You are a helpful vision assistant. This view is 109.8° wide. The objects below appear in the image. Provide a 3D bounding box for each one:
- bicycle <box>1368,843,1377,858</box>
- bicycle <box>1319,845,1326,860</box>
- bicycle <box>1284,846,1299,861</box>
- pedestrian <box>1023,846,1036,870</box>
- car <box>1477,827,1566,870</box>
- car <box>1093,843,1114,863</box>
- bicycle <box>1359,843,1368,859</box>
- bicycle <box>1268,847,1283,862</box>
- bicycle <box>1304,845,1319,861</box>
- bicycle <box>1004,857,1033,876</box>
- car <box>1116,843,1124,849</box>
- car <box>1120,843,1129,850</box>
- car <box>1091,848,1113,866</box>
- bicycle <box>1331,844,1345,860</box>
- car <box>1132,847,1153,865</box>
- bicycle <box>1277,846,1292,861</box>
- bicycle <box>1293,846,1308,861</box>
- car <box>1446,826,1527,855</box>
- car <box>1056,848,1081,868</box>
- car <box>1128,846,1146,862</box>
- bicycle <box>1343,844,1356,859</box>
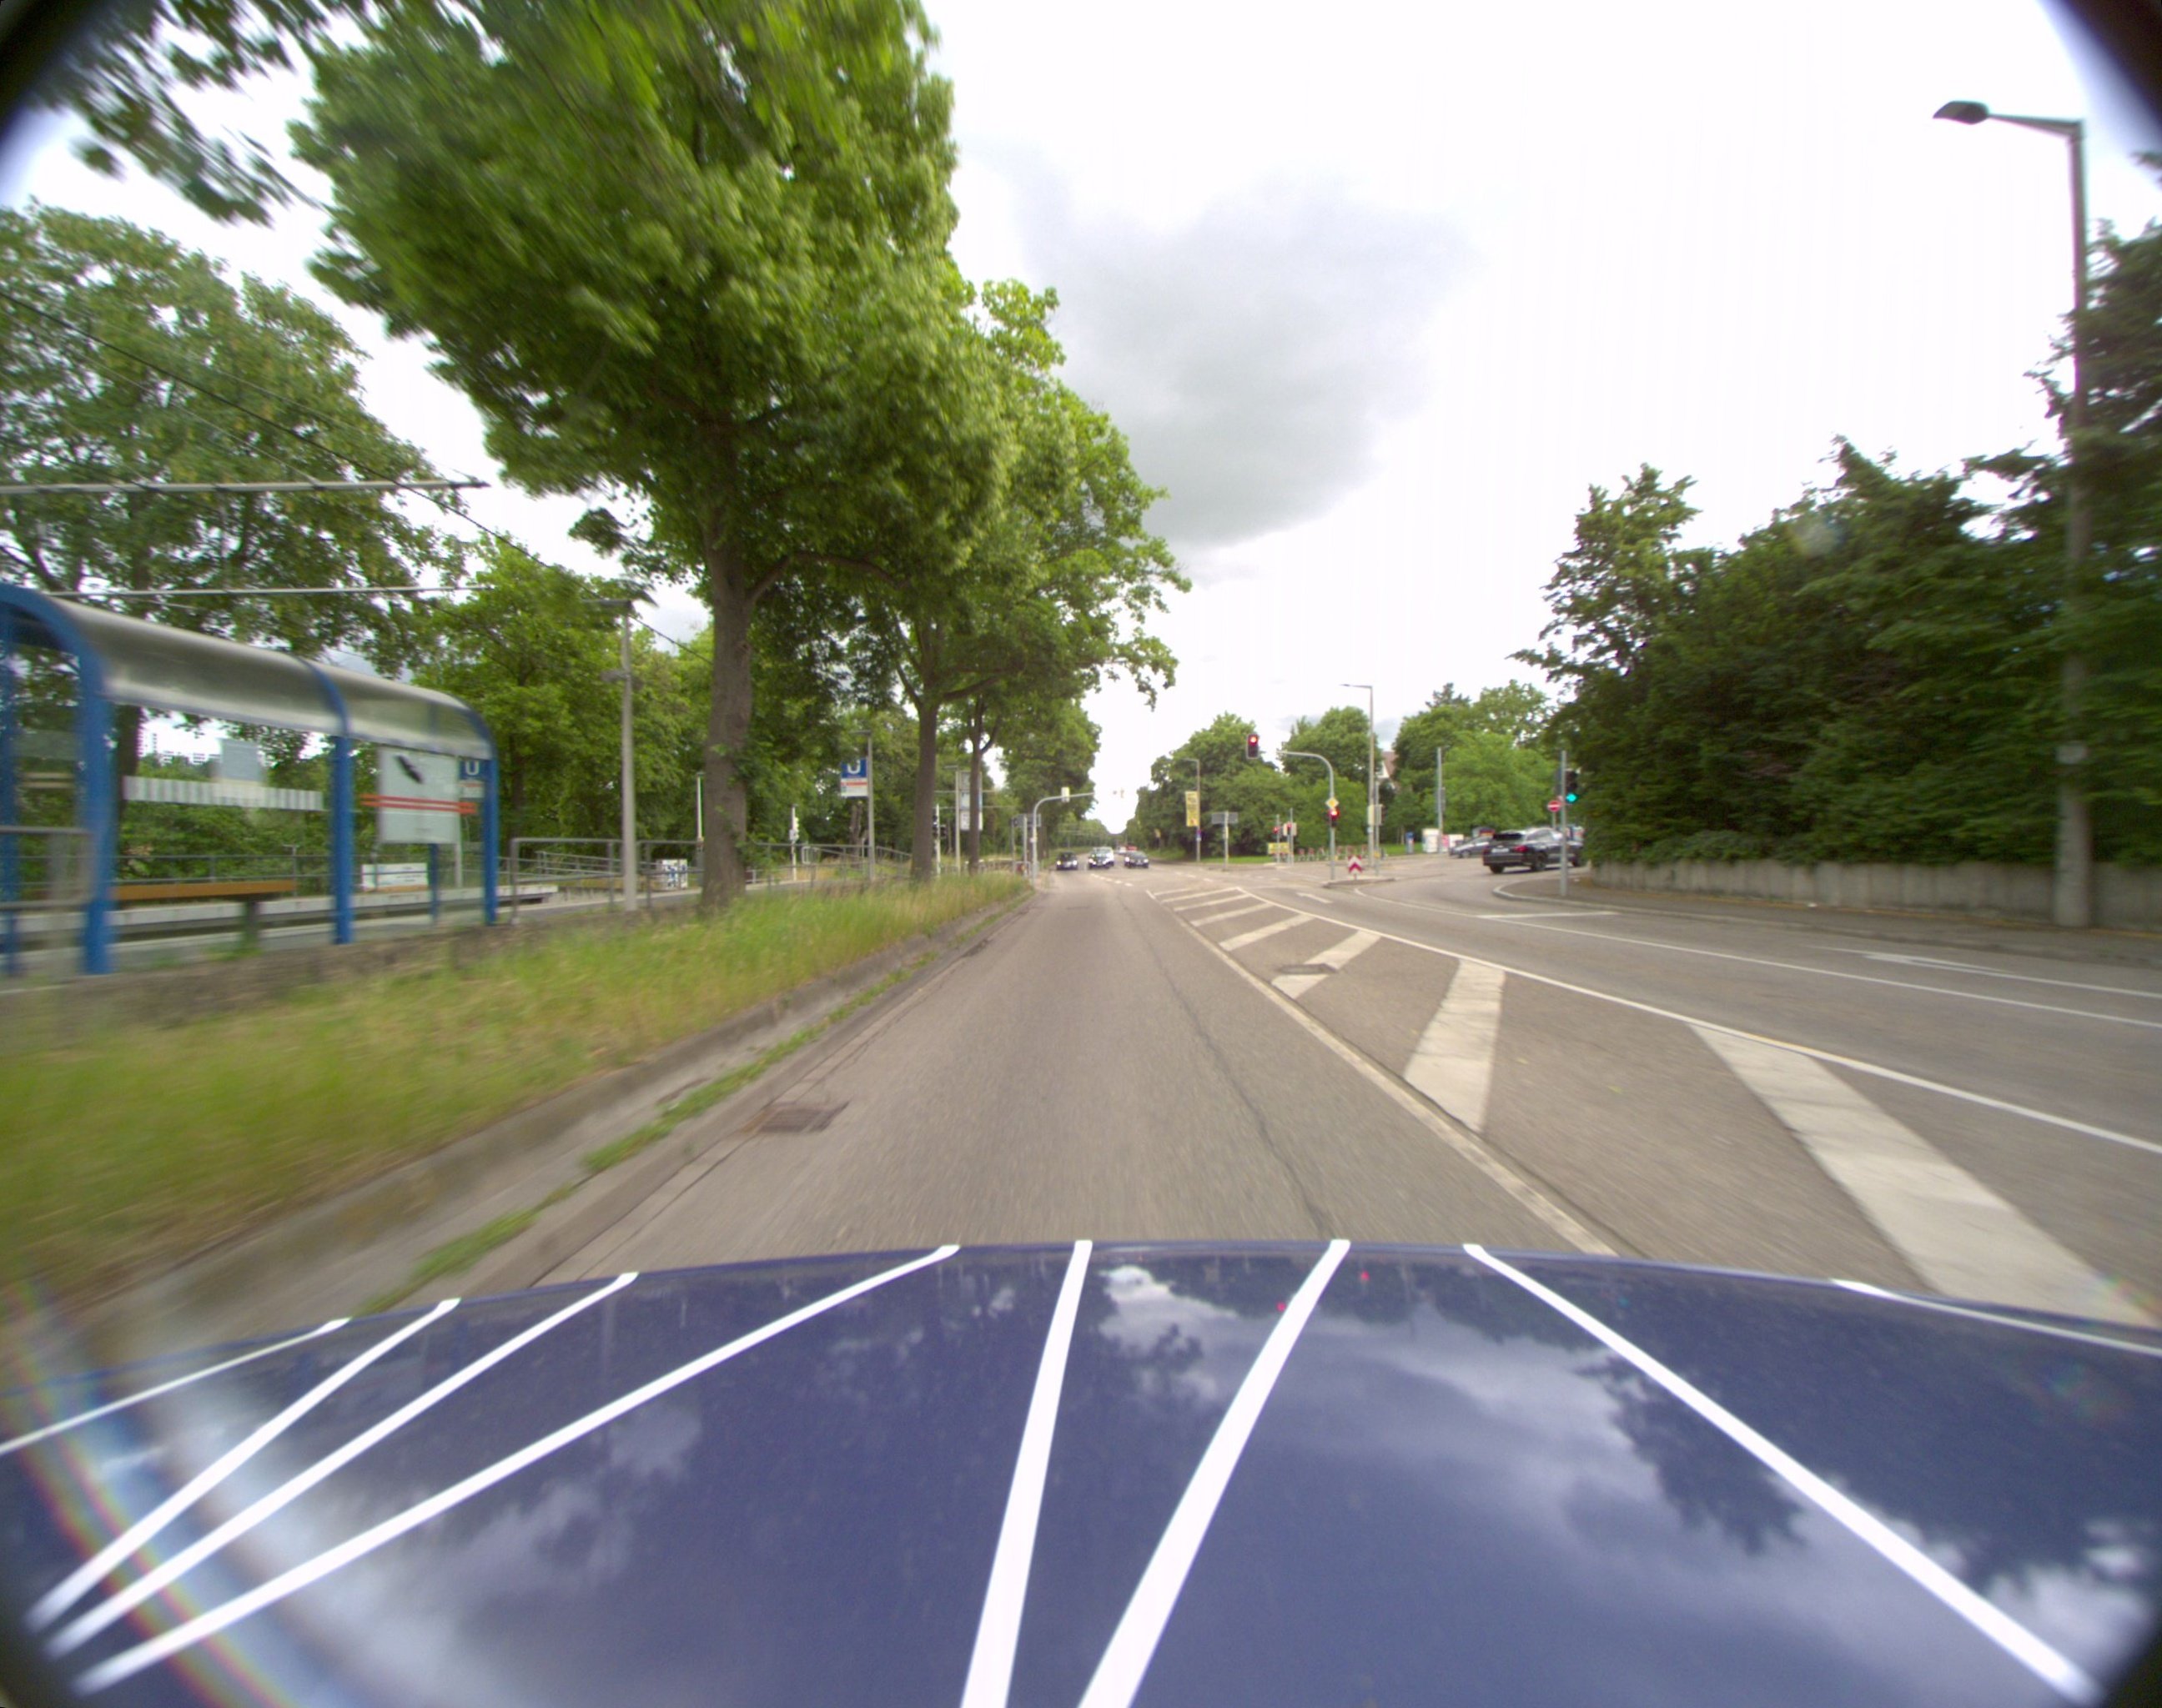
[{"bbox_3d":[25.030,-0.285,65.275,0.544,1.245,1.937,-2,1,18],"label":"bicycle"},{"bbox_3d":[21.272,-0.127,66.810,0.544,1.245,1.937,-2,1,18],"label":"bicycle"},{"bbox_3d":[18.947,-0.038,68.259,0.544,1.245,1.939,-2,2,39],"label":"bicycle"},{"bbox_3d":[-3.758,0.304,55.147,0.753,1.727,0.840,2,1,6],"label":"pedestrian"},{"bbox_3d":[18.571,-0.255,31.895,5.090,1.669,1.903,-2,1,-44],"label":"car"},{"bbox_3d":[2.189,-0.136,74.998,1.911,1.832,5.281,-1,1,1],"label":"car"},{"bbox_3d":[24.370,-0.257,65.549,0.544,1.245,1.938,-2,1,24],"label":"bicycle"},{"bbox_3d":[17.669,0.012,69.015,0.544,1.245,1.939,-2,2,39],"label":"bicycle"},{"bbox_3d":[20.368,-0.090,67.218,0.544,1.245,1.939,-2,2,39],"label":"bicycle"},{"bbox_3d":[-3.792,0.734,46.286,1.679,1.084,0.602,2,1,-3],"label":"bicycle"},{"bbox_3d":[9.702,-1.967,187.720,1.743,1.530,3.910,-2,1,4],"label":"car"},{"bbox_3d":[9.430,-1.616,164.333,1.743,1.530,3.911,-2,1,7],"label":"car"},{"bbox_3d":[1.775,0.243,64.719,1.708,1.472,3.667,-1,1,1],"label":"car"},{"bbox_3d":[22.424,-0.175,66.283,0.544,1.245,1.939,-2,2,35],"label":"bicycle"},{"bbox_3d":[5.189,0.178,64.397,1.560,1.458,3.807,1,1,1],"label":"car"},{"bbox_3d":[18.459,-0.023,68.803,0.544,1.245,1.939,-2,1,39],"label":"bicycle"},{"bbox_3d":[19.572,-0.059,67.690,0.544,1.245,1.939,-2,2,39],"label":"bicycle"},{"bbox_3d":[29.627,-0.961,55.616,4.740,1.842,2.000,-3,1,6],"label":"car"},{"bbox_3d":[-1.001,0.351,64.400,1.807,1.520,3.929,-2,1,3],"label":"car"},{"bbox_3d":[5.282,-0.003,72.283,1.595,1.459,3.929,0,1,3],"label":"car"},{"bbox_3d":[23.291,-0.211,65.909,0.544,1.245,1.939,-2,2,35],"label":"bicycle"}]
